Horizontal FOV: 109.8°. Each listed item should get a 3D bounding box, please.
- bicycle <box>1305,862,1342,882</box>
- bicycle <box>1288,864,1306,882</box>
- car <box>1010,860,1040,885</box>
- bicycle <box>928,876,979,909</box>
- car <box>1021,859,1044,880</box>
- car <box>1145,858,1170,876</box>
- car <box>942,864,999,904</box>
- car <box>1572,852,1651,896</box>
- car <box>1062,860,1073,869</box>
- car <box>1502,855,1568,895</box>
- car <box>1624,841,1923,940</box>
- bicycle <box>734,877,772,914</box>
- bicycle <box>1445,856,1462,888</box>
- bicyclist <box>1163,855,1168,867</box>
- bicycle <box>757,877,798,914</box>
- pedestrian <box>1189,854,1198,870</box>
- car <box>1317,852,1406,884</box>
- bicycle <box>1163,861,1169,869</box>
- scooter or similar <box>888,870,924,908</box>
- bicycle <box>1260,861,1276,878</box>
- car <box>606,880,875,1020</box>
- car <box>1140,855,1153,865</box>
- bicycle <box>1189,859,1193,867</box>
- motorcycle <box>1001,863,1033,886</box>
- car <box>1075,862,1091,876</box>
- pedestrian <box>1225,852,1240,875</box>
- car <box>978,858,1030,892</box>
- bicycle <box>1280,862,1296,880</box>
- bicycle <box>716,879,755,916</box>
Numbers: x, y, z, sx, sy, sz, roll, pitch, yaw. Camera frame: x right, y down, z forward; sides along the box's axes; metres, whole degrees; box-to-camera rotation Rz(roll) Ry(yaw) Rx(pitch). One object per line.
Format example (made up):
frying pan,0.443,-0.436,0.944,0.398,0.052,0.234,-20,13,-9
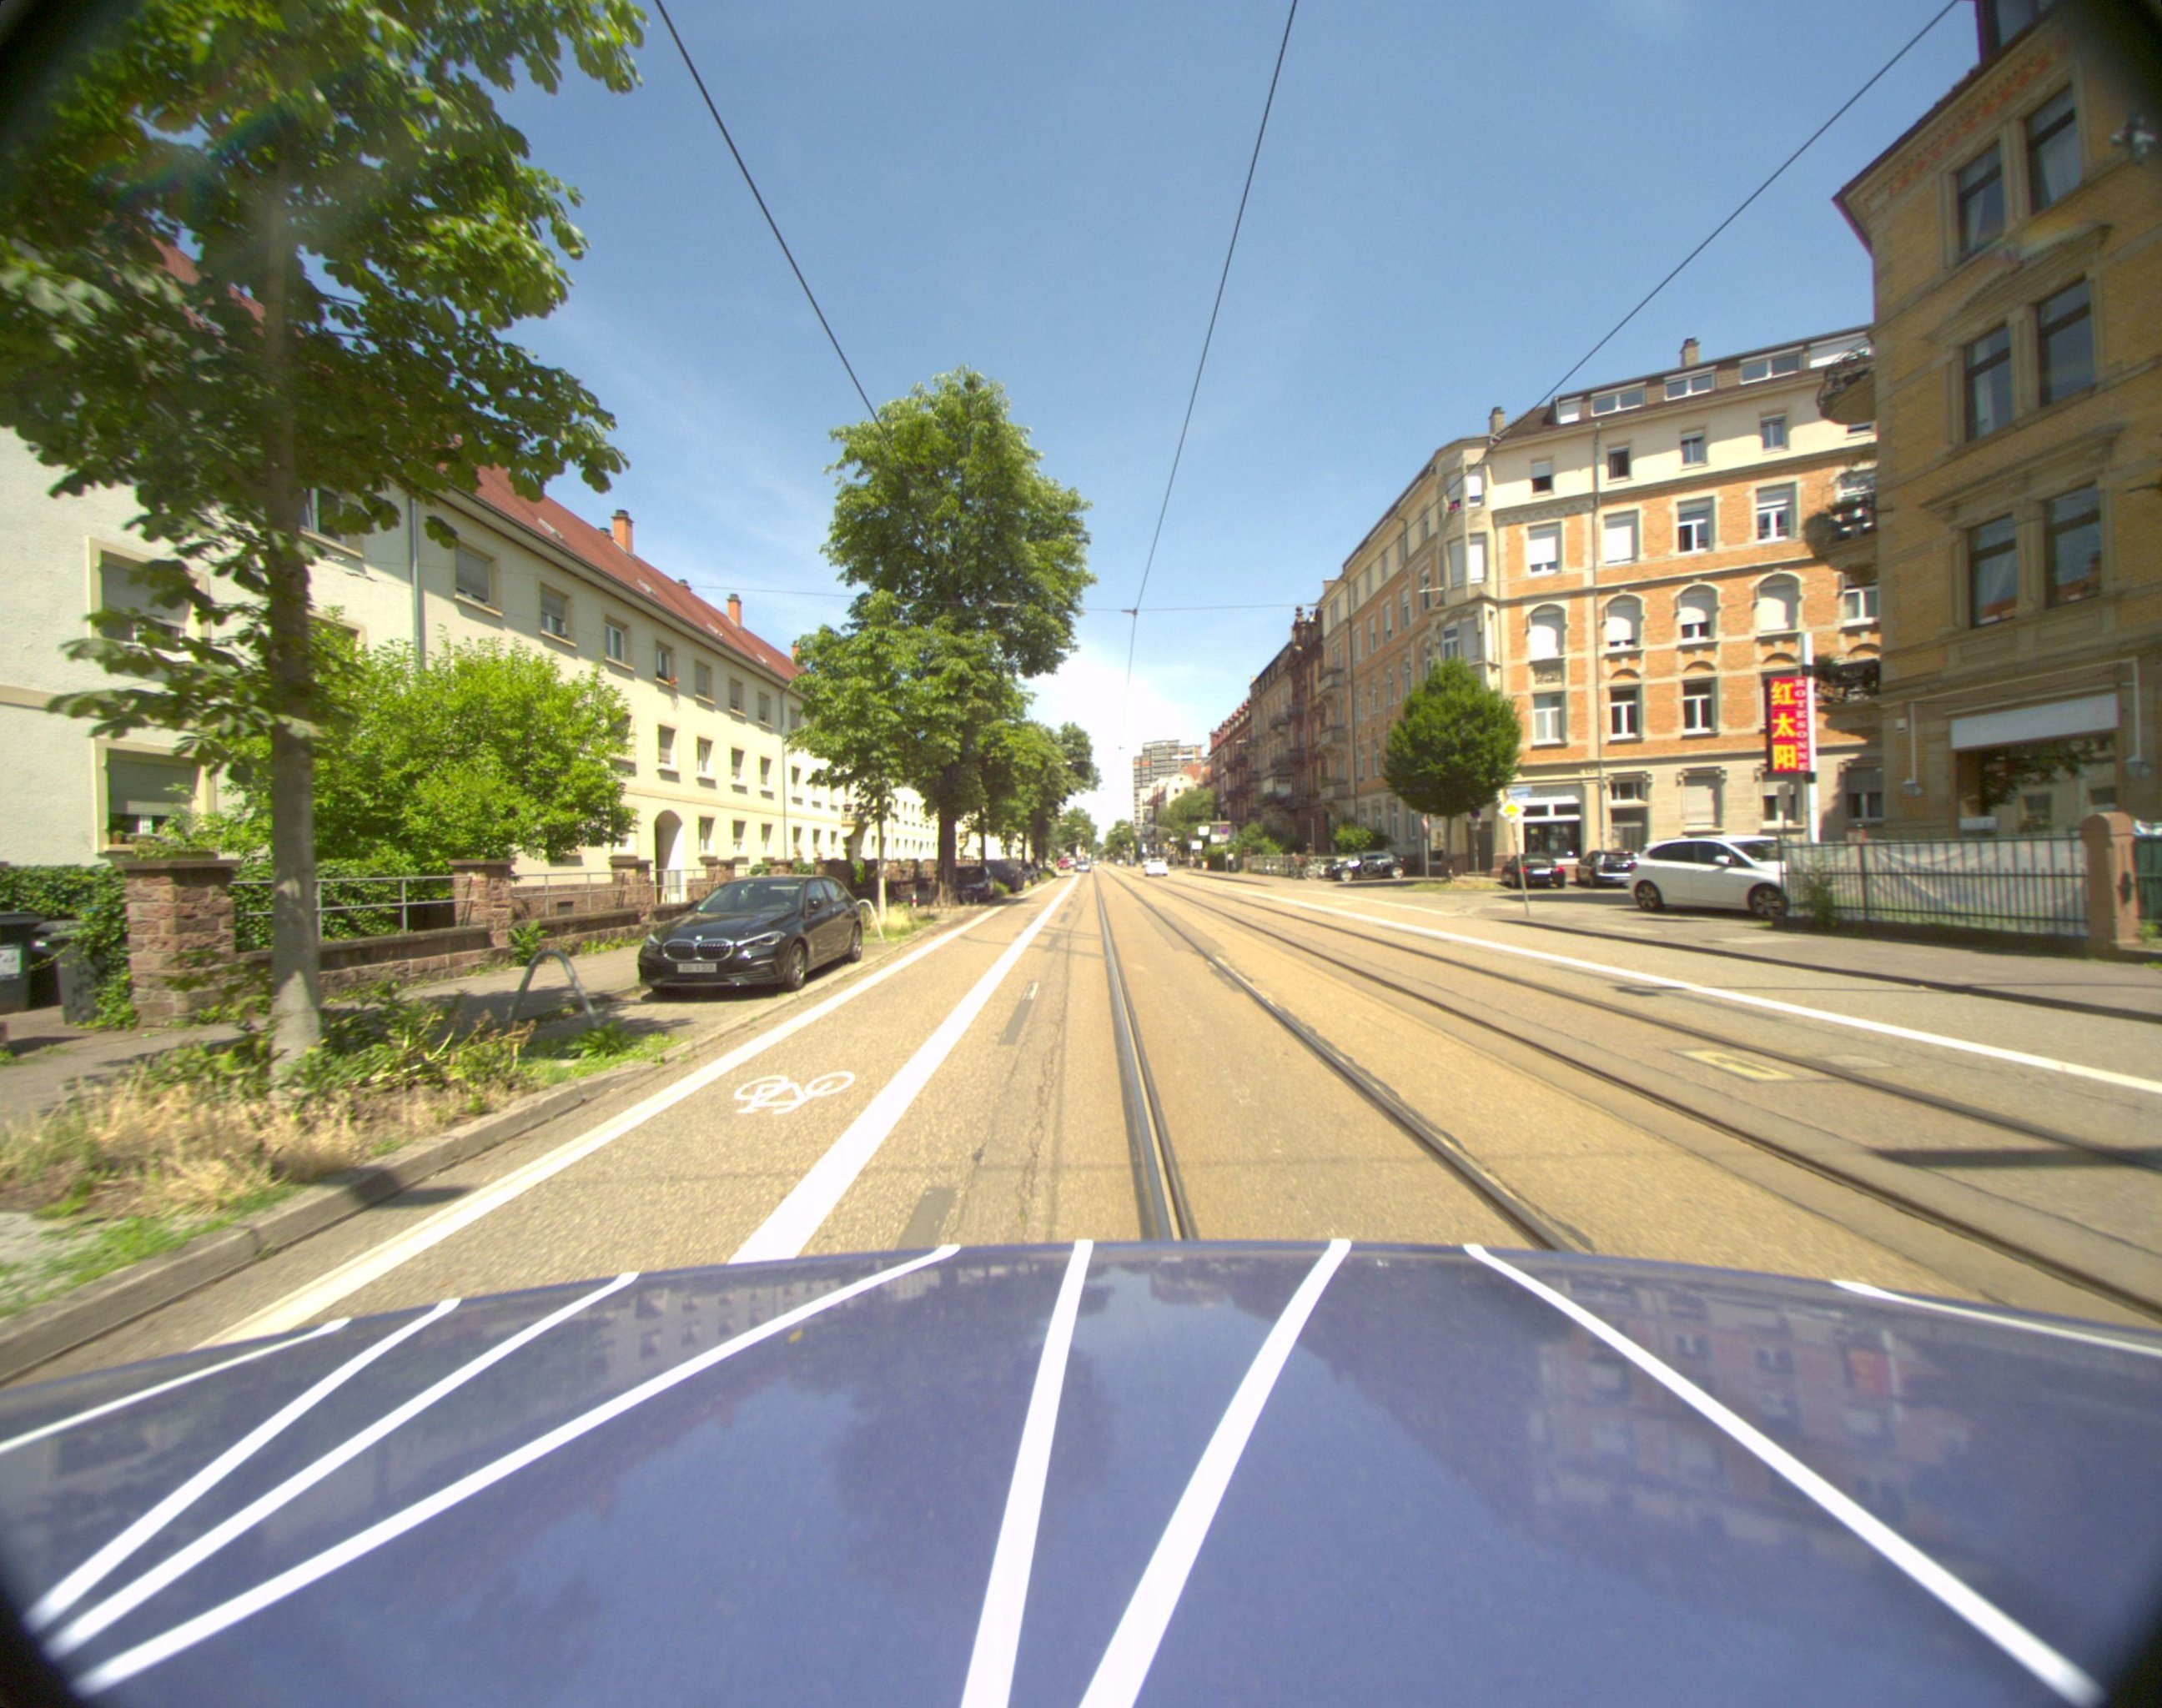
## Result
bicycle,12.691,0.944,39.779,1.709,1.031,0.551,-1,0,5
bicycle,11.709,1.012,41.154,0.440,0.977,1.711,-1,0,-1
car,-3.700,1.208,51.078,1.737,1.543,4.453,-1,-1,-1
bicycle,-4.287,1.291,25.607,1.658,1.072,0.606,-1,0,-6
car,-3.764,1.189,59.681,1.661,1.506,3.999,-1,0,-2
car,6.264,1.049,62.279,1.760,1.416,4.000,0,0,1
car,-4.304,1.135,30.182,1.699,1.410,4.357,-1,-1,-2
car,20.228,0.724,29.109,1.627,1.431,3.777,-1,2,21
car,-2.204,1.744,125.964,1.737,1.543,4.424,-1,-1,-1
car,17.807,0.778,29.971,1.627,1.331,3.777,-1,2,21
car,13.053,0.617,14.743,1.871,1.590,4.100,-2,0,-4
bicycle,-10.373,1.283,24.087,0.480,1.072,1.923,-1,0,-5
bicycle,15.151,0.718,30.888,0.500,1.221,1.853,0,2,29
bicyclist,11.347,0.975,101.835,0.635,1.575,1.028,0,0,0
bicycle,-9.531,1.292,23.938,0.480,1.072,1.924,-1,0,1
pedestrian,11.666,0.832,78.487,0.873,1.690,1.014,-1,0,7
car,13.877,0.671,37.719,3.769,1.420,1.713,-1,1,1
bicycle,11.344,1.421,101.883,0.630,1.072,1.875,0,0,1
scooter or similar,-5.812,1.138,25.266,0.379,1.206,1.250,-1,0,31
bicycle,11.915,0.974,48.337,0.498,0.981,1.711,-5,0,-1
car,-4.466,1.158,10.926,1.774,1.418,4.861,-1,-1,-2
car,10.021,0.926,116.736,1.689,1.441,4.001,-1,0,2
bicycle,14.115,1.128,97.448,0.460,1.050,1.565,-1,0,4
motorcycle,-3.955,1.268,47.233,1.919,1.425,0.671,-1,0,-8
car,0.183,1.768,89.321,1.737,1.543,4.424,-1,-1,-1
pedestrian,11.820,0.726,59.169,0.853,1.713,1.139,-4,0,1
car,-3.997,1.079,40.347,1.951,1.641,4.882,-1,-1,4
bicycle,11.753,0.967,43.195,0.440,0.977,1.711,-1,0,-1
bicycle,-10.903,1.360,24.047,0.480,1.072,1.923,-1,0,-5
